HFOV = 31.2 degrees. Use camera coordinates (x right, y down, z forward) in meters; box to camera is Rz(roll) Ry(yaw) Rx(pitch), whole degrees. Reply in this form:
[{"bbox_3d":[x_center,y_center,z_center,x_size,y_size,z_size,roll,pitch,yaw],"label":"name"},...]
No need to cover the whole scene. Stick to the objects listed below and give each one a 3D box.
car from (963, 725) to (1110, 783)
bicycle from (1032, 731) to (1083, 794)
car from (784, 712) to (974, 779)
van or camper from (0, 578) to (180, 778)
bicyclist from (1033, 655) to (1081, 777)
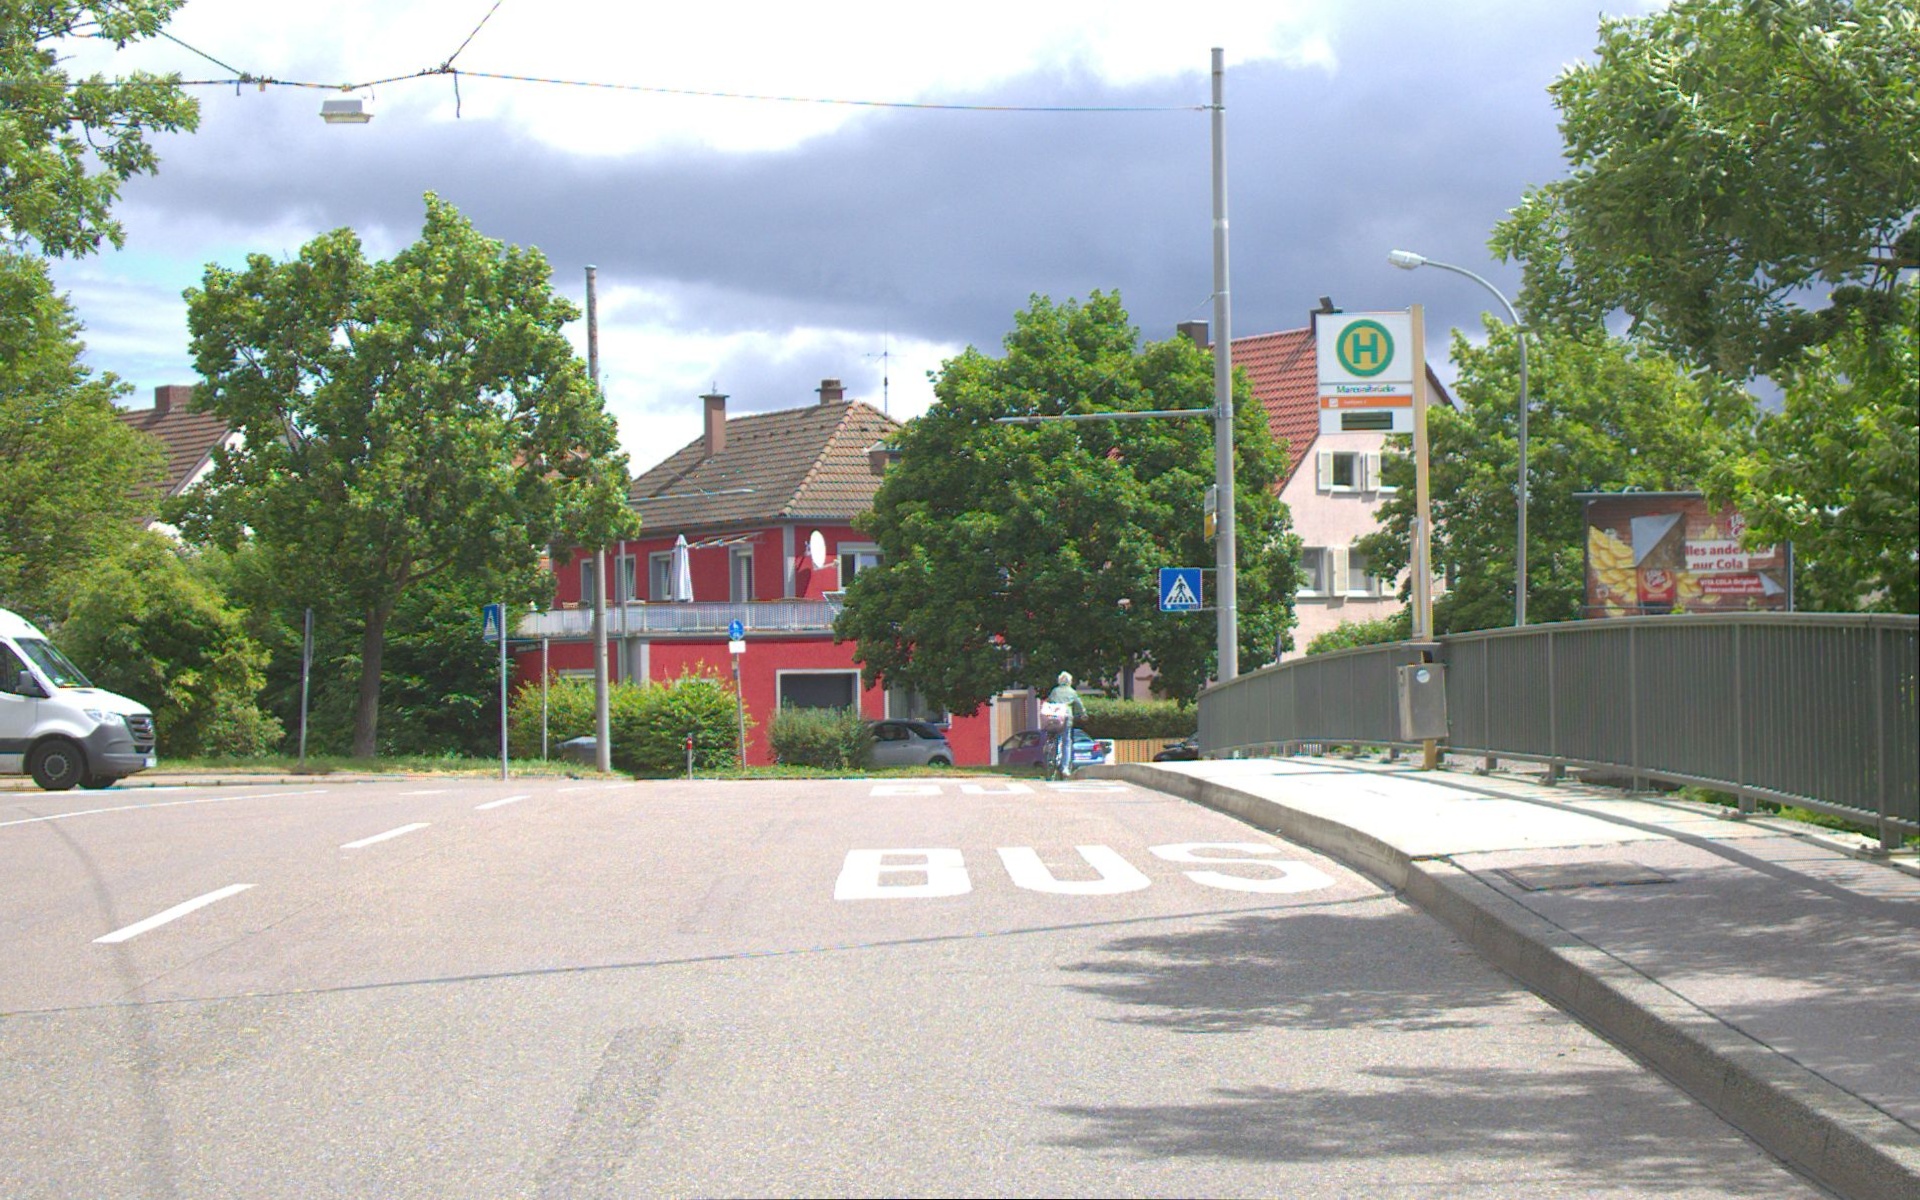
[{"bbox_3d":[1.870,3.840,85.300,1.837,1.373,3.813,2,-4,-32],"label":"car"},{"bbox_3d":[1.511,2.519,53.047,0.688,0.875,2.101,0,-5,5],"label":"bicycle"},{"bbox_3d":[-1.850,3.342,78.778,4.064,1.421,1.645,3,-3,-33],"label":"car"},{"bbox_3d":[-13.810,1.139,46.615,5.909,2.559,2.193,-2,-4,1],"label":"van or camper"},{"bbox_3d":[1.497,1.790,53.008,0.684,1.820,1.080,0,-5,4],"label":"bicyclist"}]
